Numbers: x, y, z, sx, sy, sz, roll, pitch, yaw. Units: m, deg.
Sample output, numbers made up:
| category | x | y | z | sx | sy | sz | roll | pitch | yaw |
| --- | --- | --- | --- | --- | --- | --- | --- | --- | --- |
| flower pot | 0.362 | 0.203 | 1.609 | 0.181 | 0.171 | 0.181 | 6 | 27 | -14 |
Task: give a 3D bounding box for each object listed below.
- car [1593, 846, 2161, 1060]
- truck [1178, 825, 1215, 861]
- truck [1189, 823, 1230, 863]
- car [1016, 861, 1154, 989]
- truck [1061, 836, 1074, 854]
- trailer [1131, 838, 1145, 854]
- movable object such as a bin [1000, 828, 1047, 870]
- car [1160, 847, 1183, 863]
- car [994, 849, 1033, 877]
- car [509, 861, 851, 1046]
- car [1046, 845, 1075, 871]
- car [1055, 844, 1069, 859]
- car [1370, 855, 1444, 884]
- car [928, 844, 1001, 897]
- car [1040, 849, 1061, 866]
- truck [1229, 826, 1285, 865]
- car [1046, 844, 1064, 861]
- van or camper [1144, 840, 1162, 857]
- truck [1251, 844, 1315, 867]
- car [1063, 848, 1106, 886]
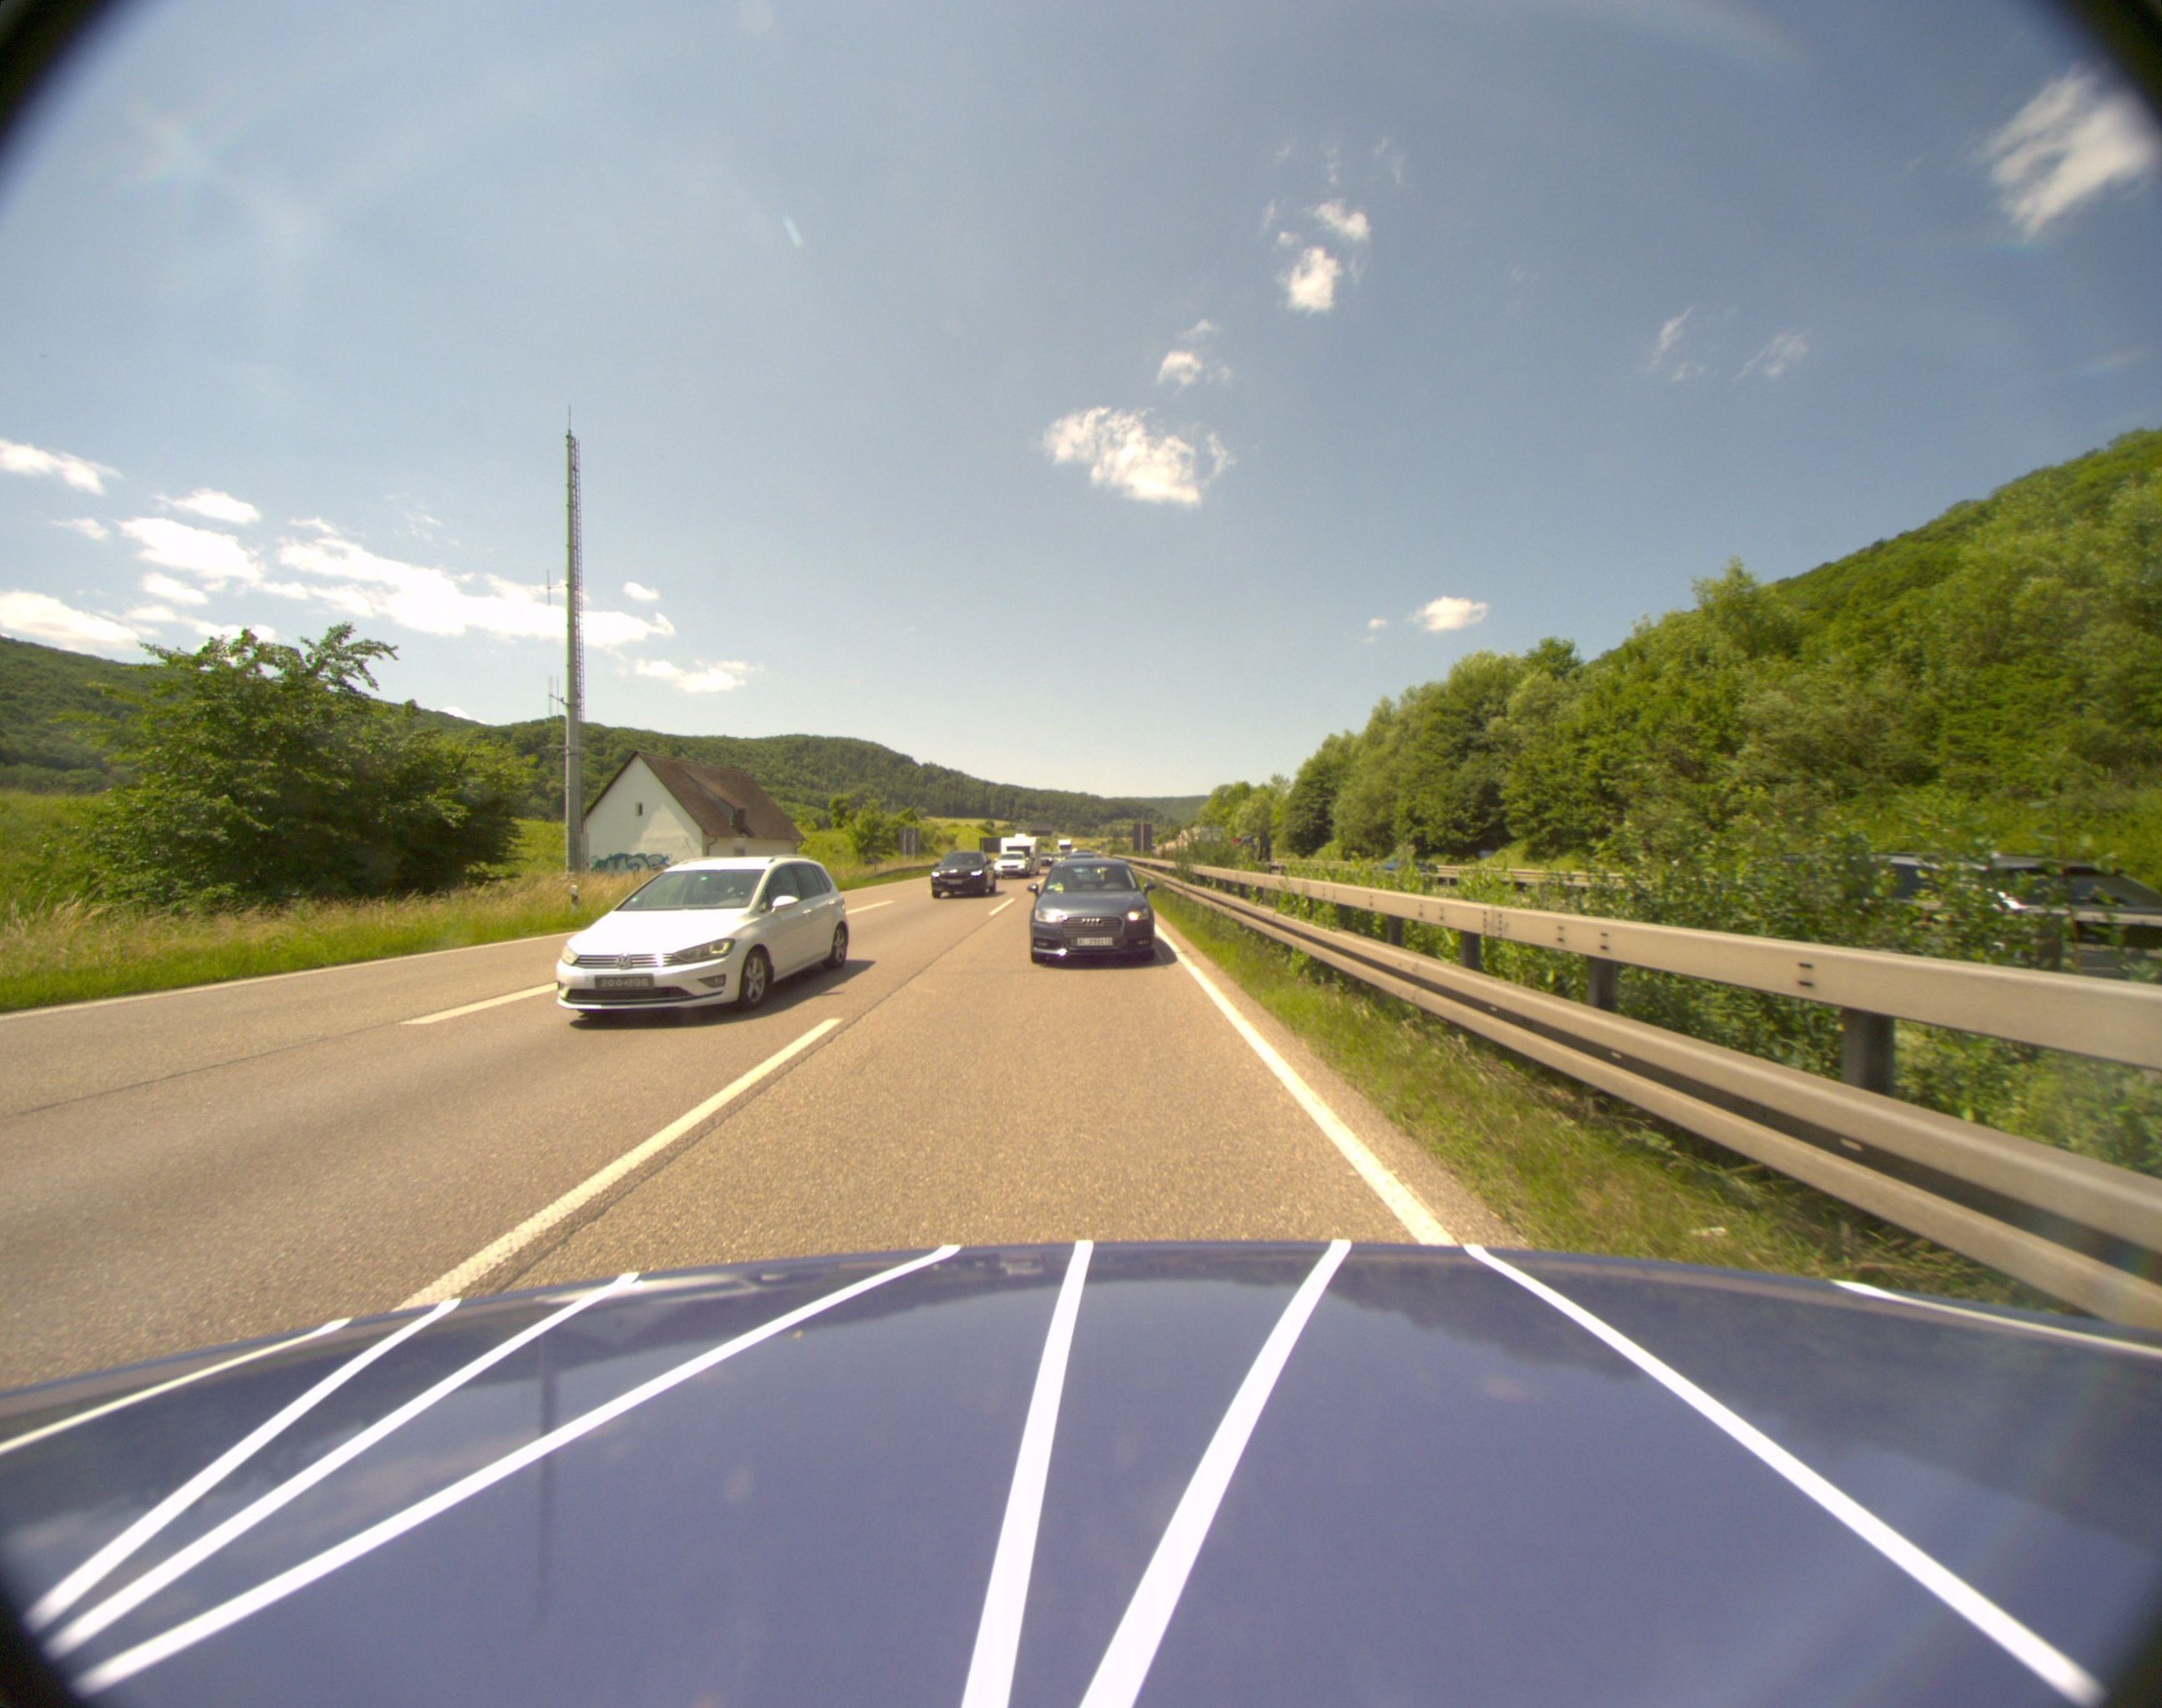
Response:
| category | x | y | z | sx | sy | sz | roll | pitch | yaw |
| --- | --- | --- | --- | --- | --- | --- | --- | --- | --- |
| car | 7.779 | 0.687 | 7.769 | 1.998 | 1.510 | 4.677 | -1 | 1 | 1 |
| truck | 13.711 | -1.314 | 91.076 | 2.876 | 3.983 | 10.169 | -1 | 1 | 0 |
| truck | 13.622 | -1.171 | 81.413 | 2.876 | 3.957 | 9.030 | 1 | 1 | 0 |
| car | 0.184 | 0.856 | 10.903 | 1.591 | 1.402 | 4.001 | -1 | 1 | 4 |
| truck | -2.739 | -1.846 | 153.741 | 2.336 | 3.623 | 7.005 | -1 | 1 | 1 |
| trailer | 14.923 | -1.972 | 200.916 | 2.789 | 3.976 | 14.160 | 0 | 0 | 1 |
| movable object such as a bin | -3.828 | -0.332 | 52.040 | 2.481 | 2.616 | 6.708 | -1 | 1 | 1 |
| car | 8.954 | 0.059 | 75.729 | 1.781 | 1.589 | 3.999 | 0 | 1 | 0 |
| car | -3.967 | 0.500 | 45.323 | 1.821 | 1.574 | 4.000 | -1 | 1 | 1 |
| car | -4.134 | 0.891 | 8.711 | 1.777 | 1.532 | 4.053 | -1 | 1 | -1 |
| car | -1.601 | 0.265 | 60.939 | 1.998 | 2.002 | 4.000 | -1 | 1 | 2 |
| car | -2.779 | -0.382 | 111.402 | 1.998 | 2.002 | 3.999 | -1 | 1 | 0 |
| car | 16.649 | 0.758 | 39.005 | 1.999 | 1.348 | 4.106 | -1 | 1 | -1 |
| car | -4.124 | 0.541 | 27.510 | 1.893 | 1.762 | 4.171 | 0 | 0 | 2 |
| car | -2.887 | 0.313 | 72.358 | 1.711 | 1.542 | 4.000 | 0 | 0 | 1 |
| truck | 12.594 | -0.628 | 54.942 | 2.301 | 2.573 | 7.967 | -1 | 0 | 1 |
| car | -3.171 | -0.212 | 91.469 | 1.999 | 2.002 | 3.998 | -1 | 1 | -3 |
| van or camper | 14.626 | -1.170 | 154.798 | 2.597 | 3.316 | 7.645 | 0 | 1 | -2 |
| truck | 12.475 | 0.054 | 47.433 | 2.215 | 1.326 | 7.009 | -1 | 1 | 1 |
| car | 0.207 | 0.556 | 35.149 | 1.835 | 1.587 | 4.000 | -1 | 1 | 2 |
